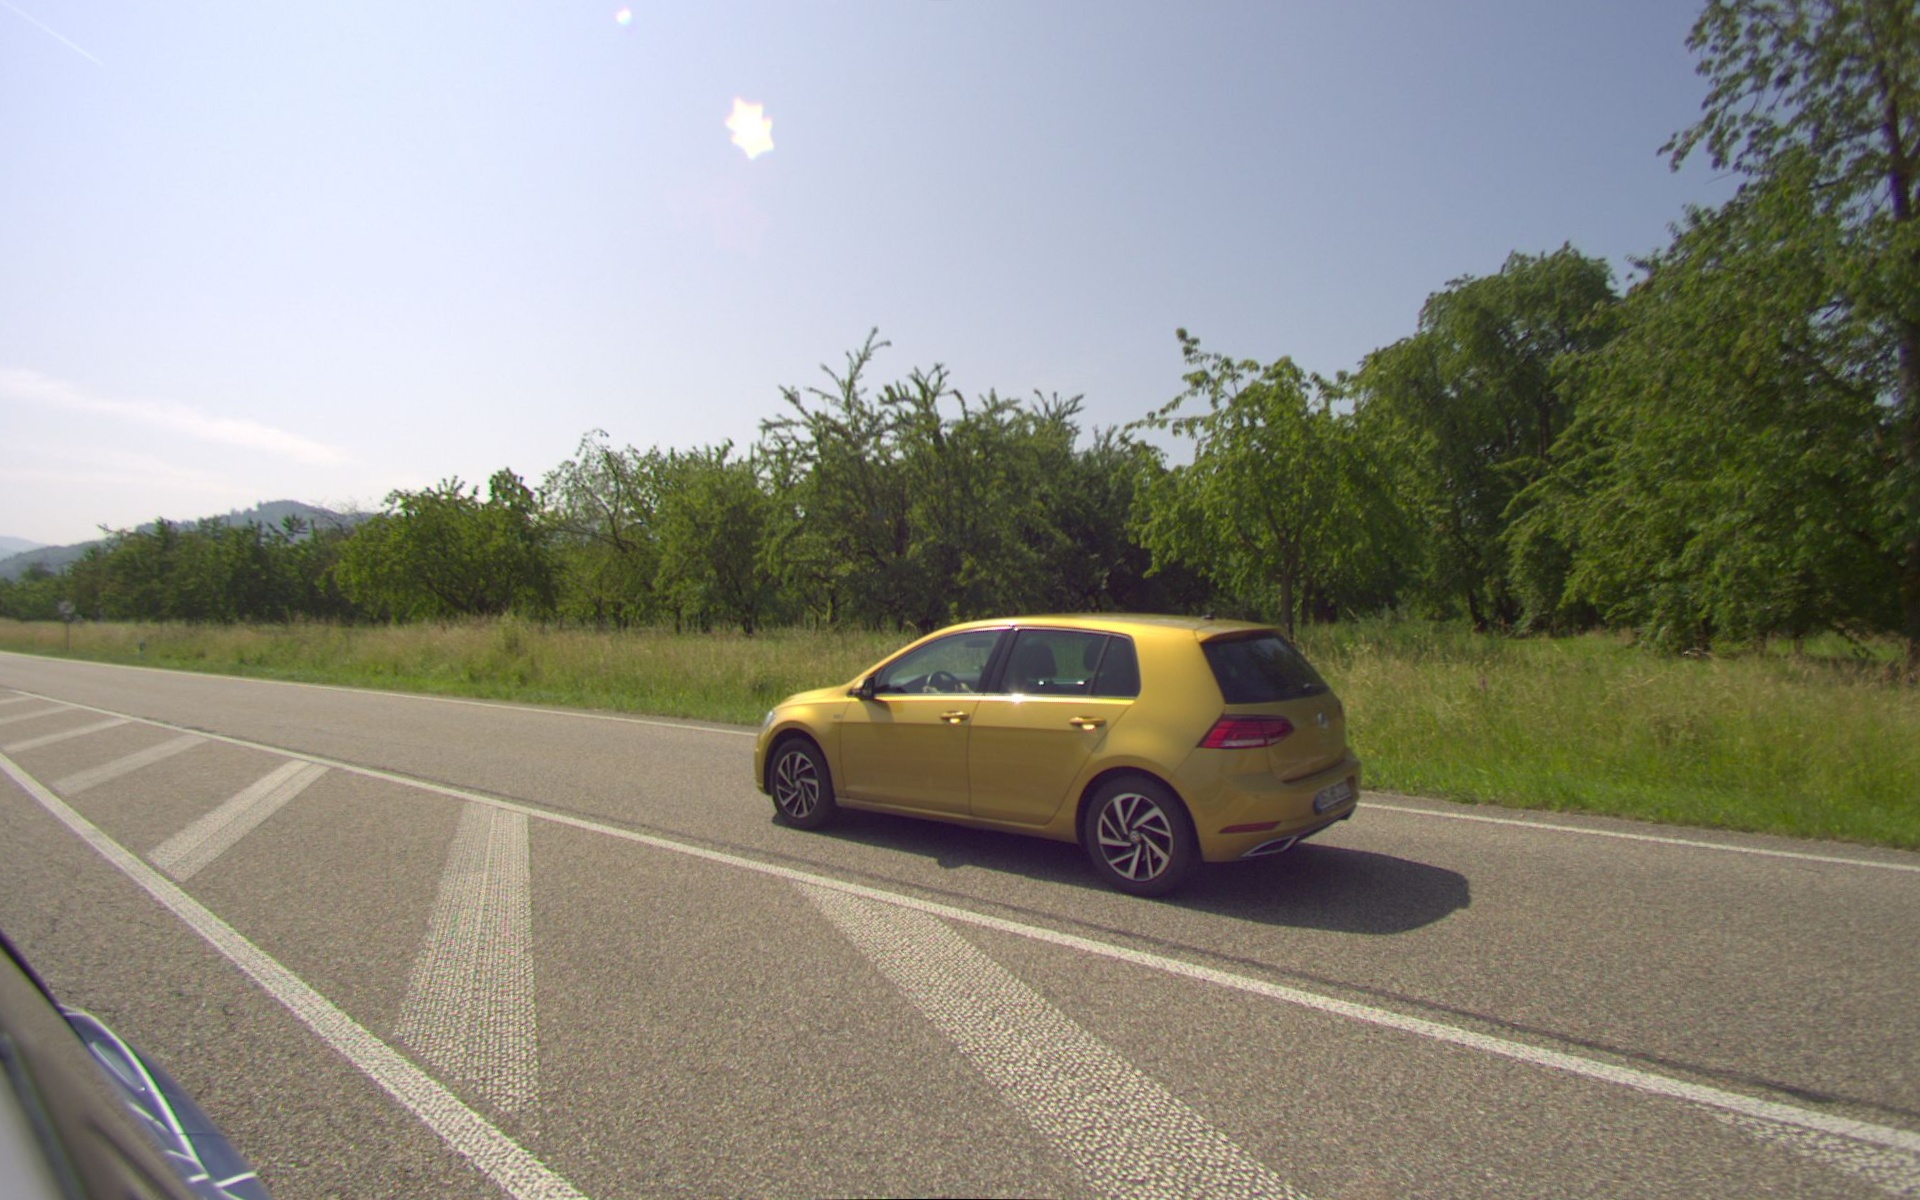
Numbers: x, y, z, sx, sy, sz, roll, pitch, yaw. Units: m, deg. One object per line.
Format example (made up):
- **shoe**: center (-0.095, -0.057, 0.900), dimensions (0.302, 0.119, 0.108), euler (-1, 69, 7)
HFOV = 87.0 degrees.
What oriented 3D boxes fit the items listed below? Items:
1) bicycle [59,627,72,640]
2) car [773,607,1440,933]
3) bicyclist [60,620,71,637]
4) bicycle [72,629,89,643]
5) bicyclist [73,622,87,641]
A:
- **bicycle**: center (-76.599, 2.868, 86.648), dimensions (1.955, 0.997, 0.642), euler (0, 0, 42)
- **car**: center (0.723, 0.781, 6.325), dimensions (3.822, 1.427, 1.680), euler (-1, -1, 40)
- **bicyclist**: center (-76.594, 2.470, 86.644), dimensions (0.863, 1.425, 0.634), euler (0, 0, 42)
- **bicycle**: center (-68.679, 2.818, 79.005), dimensions (2.225, 0.997, 0.732), euler (0, 0, 42)
- **bicyclist**: center (-68.681, 2.440, 79.008), dimensions (0.863, 1.466, 0.732), euler (0, 0, 42)
